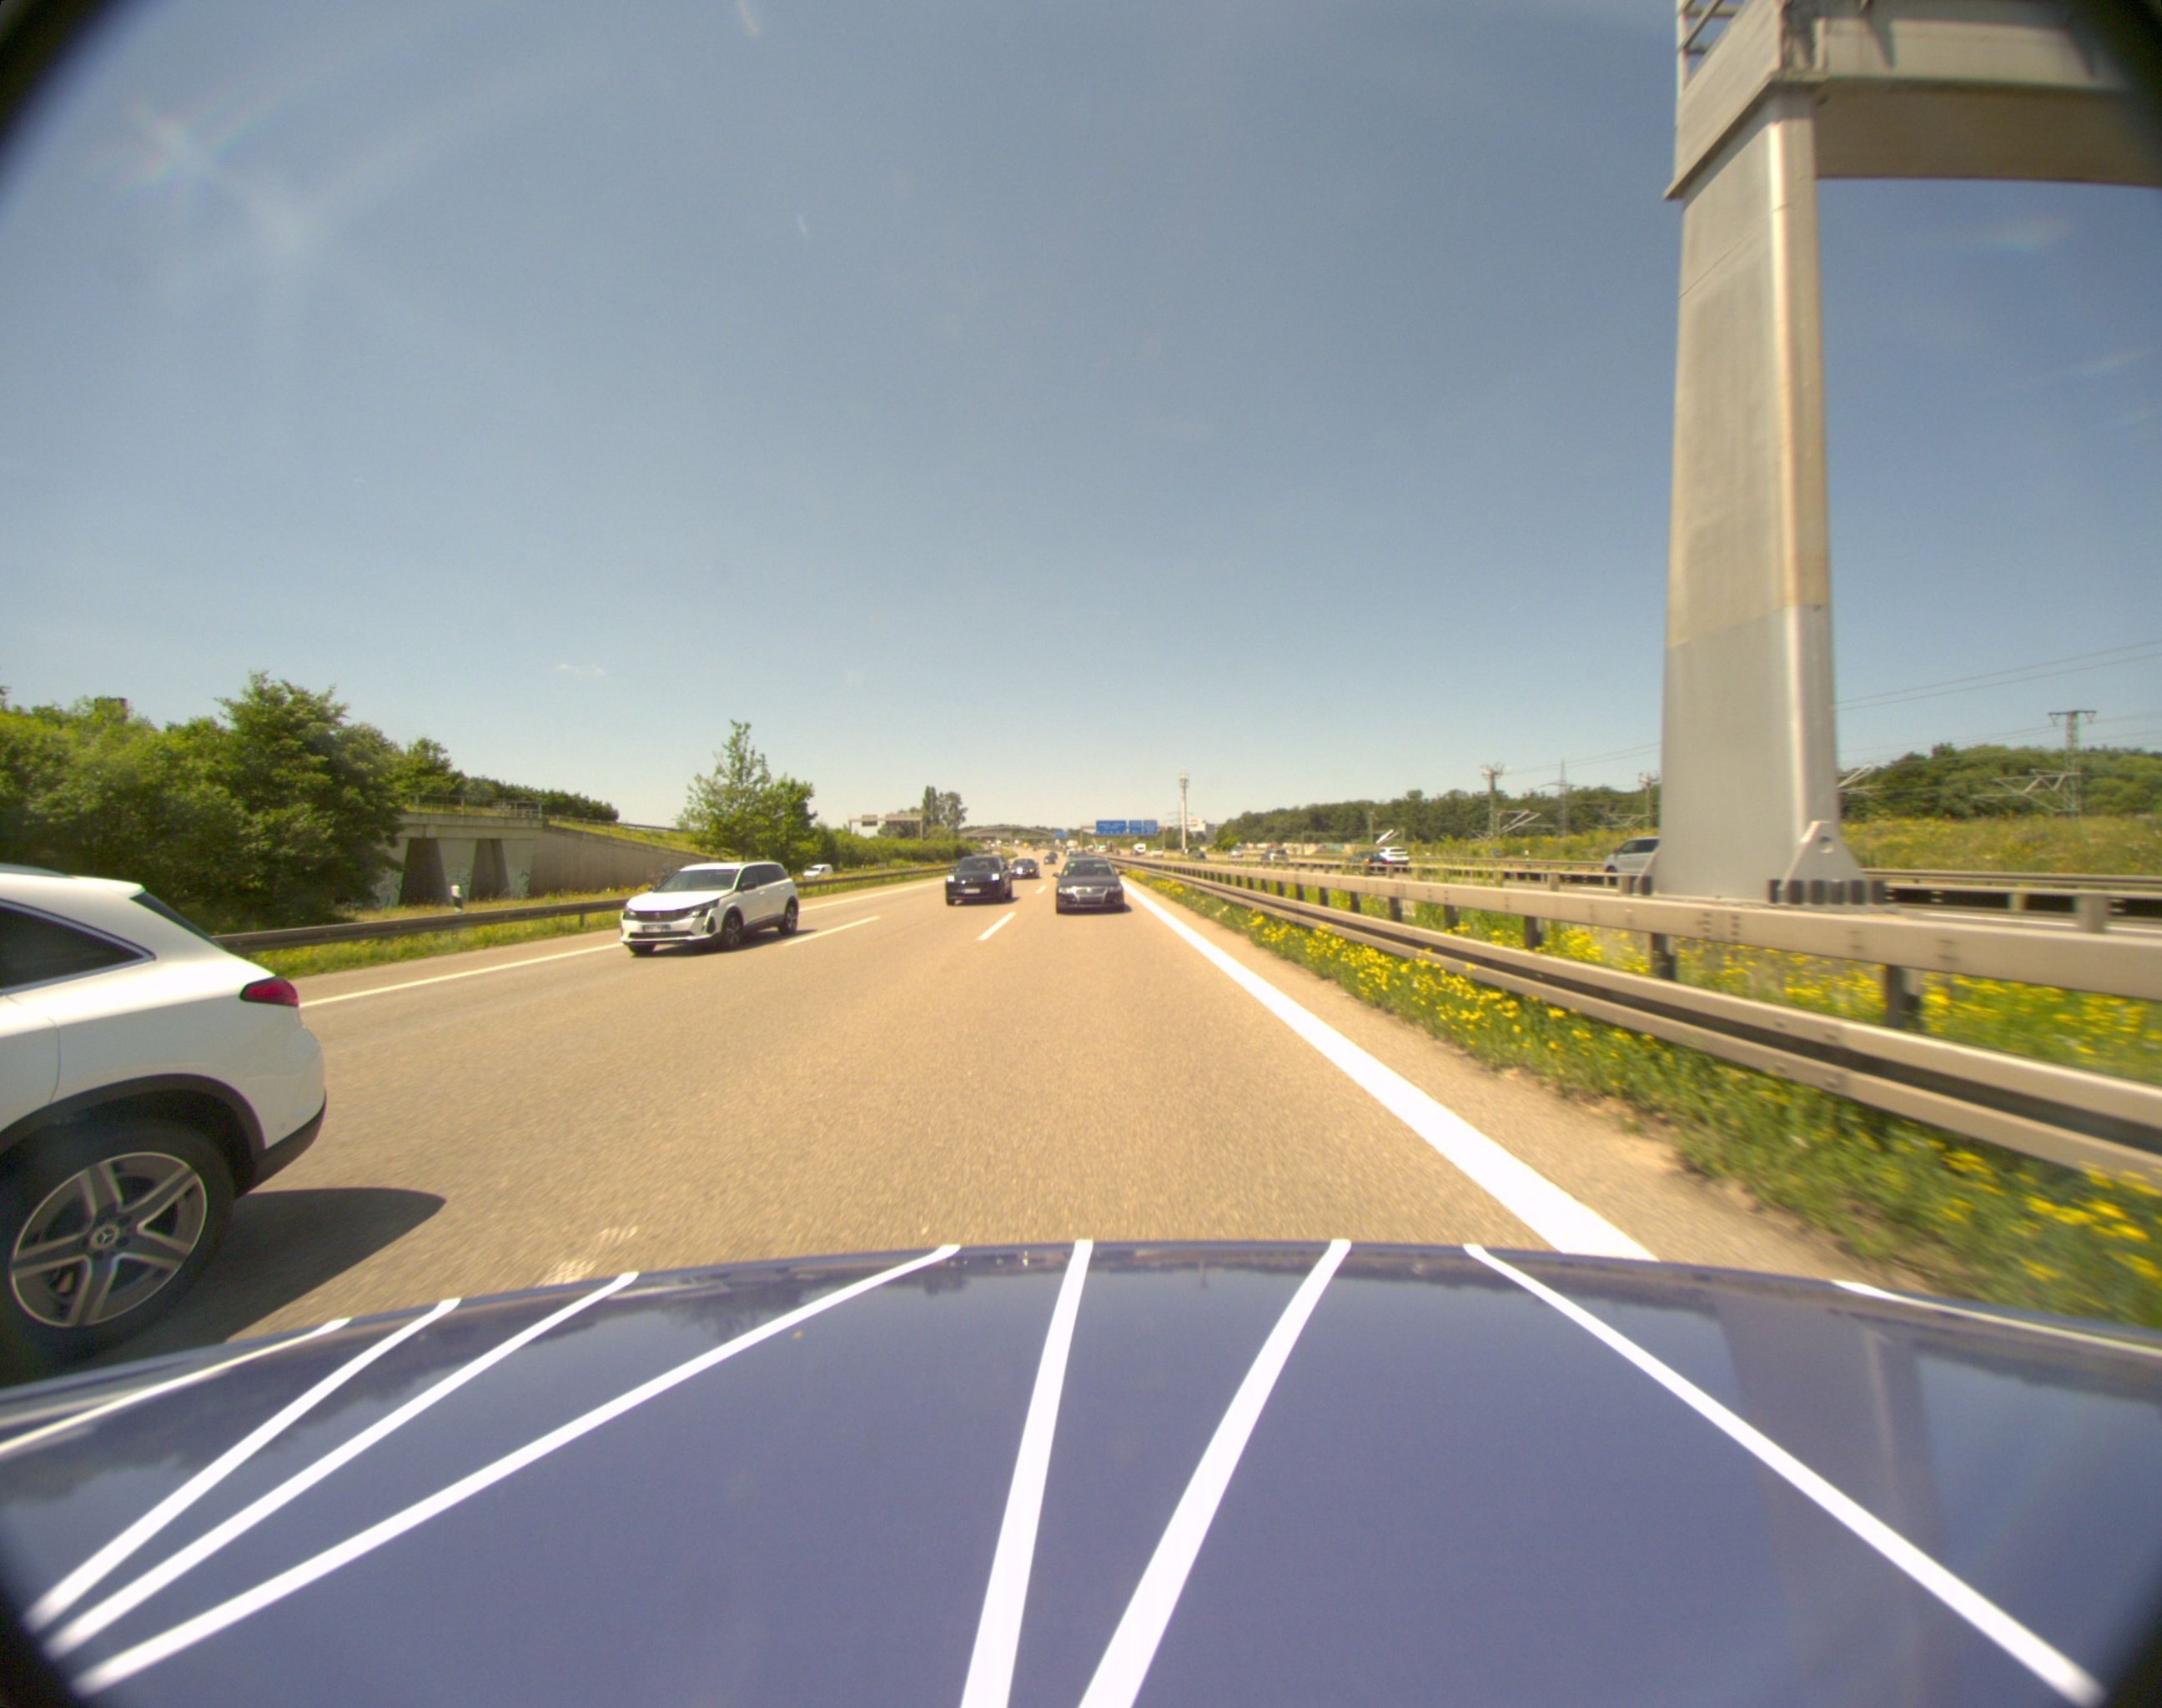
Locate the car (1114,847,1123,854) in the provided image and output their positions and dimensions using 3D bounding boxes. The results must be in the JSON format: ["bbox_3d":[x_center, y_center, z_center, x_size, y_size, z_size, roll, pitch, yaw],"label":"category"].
[{"bbox_3d":[10.179,-0.947,205.207,1.999,1.500,4.888,-3,1,-1],"label":"car"}]

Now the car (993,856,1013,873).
[{"bbox_3d":[-7.591,0.975,74.017,1.752,1.462,3.998,-2,1,-5],"label":"car"}]

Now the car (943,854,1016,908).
[{"bbox_3d":[-3.465,0.868,26.785,1.983,1.620,4.616,-2,1,-2],"label":"car"}]

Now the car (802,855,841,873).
[{"bbox_3d":[-30.579,1.126,89.689,1.996,2.002,4.768,-1,0,13],"label":"car"}]

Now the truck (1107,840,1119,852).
[{"bbox_3d":[11.019,-2.613,262.406,3.395,3.960,12.240,-2,1,1],"label":"truck"}]

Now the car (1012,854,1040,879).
[{"bbox_3d":[-3.674,0.819,51.225,1.752,1.462,3.998,-2,1,-2],"label":"car"}]

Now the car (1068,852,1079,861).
[{"bbox_3d":[-1.441,0.421,150.355,1.999,1.691,3.999,-2,1,-1],"label":"car"}]

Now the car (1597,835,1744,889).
[{"bbox_3d":[23.048,0.293,30.040,1.998,1.875,4.977,-2,0,1],"label":"car"}]

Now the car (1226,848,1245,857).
[{"bbox_3d":[24.179,-0.287,118.902,1.999,1.304,4.162,-1,1,0],"label":"car"}]

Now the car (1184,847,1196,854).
[{"bbox_3d":[22.980,-0.749,160.268,1.998,1.588,4.933,-1,1,1],"label":"car"}]

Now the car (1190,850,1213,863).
[{"bbox_3d":[14.156,0.294,89.545,1.934,1.475,4.476,-1,1,0],"label":"car"}]

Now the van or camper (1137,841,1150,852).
[{"bbox_3d":[15.693,-1.884,191.060,2.343,2.641,7.603,-2,0,-1],"label":"van or camper"}]

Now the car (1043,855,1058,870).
[{"bbox_3d":[-4.548,1.254,114.195,1.999,2.002,3.999,-2,1,-1],"label":"car"}]

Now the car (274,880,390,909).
[{"bbox_3d":[-41.030,2.208,41.752,1.896,1.272,4.081,-2,0,13],"label":"car"}]

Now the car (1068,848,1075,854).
[{"bbox_3d":[-2.716,-0.774,213.246,1.999,1.691,3.999,-2,1,-1],"label":"car"}]

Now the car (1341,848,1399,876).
[{"bbox_3d":[17.370,0.438,45.901,1.998,1.567,4.477,-1,1,3],"label":"car"}]

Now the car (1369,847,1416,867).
[{"bbox_3d":[24.945,0.214,60.961,1.998,1.567,4.476,-1,1,1],"label":"car"}]

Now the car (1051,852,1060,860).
[{"bbox_3d":[-5.858,0.371,173.085,1.999,1.691,3.999,-2,1,-1],"label":"car"}]

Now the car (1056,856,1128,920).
[{"bbox_3d":[0.248,0.839,20.856,1.752,1.462,3.999,-2,1,-1],"label":"car"}]

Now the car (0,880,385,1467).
[{"bbox_3d":[-4.119,0.998,1.072,1.909,1.646,4.636,-2,1,0],"label":"car"}]

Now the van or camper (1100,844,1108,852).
[{"bbox_3d":[7.389,-1.888,244.914,1.999,2.327,5.076,-2,1,-3],"label":"van or camper"}]

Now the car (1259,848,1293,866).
[{"bbox_3d":[17.898,0.267,69.902,1.998,1.567,4.476,-1,1,1],"label":"car"}]

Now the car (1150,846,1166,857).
[{"bbox_3d":[13.269,-0.520,131.376,1.999,1.820,5.598,-1,1,0],"label":"car"}]

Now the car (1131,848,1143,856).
[{"bbox_3d":[11.959,-0.471,163.053,1.999,1.565,4.549,-1,1,-1],"label":"car"}]

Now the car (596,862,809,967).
[{"bbox_3d":[-7.242,1.051,15.203,1.898,1.620,4.616,-2,1,0],"label":"car"}]
